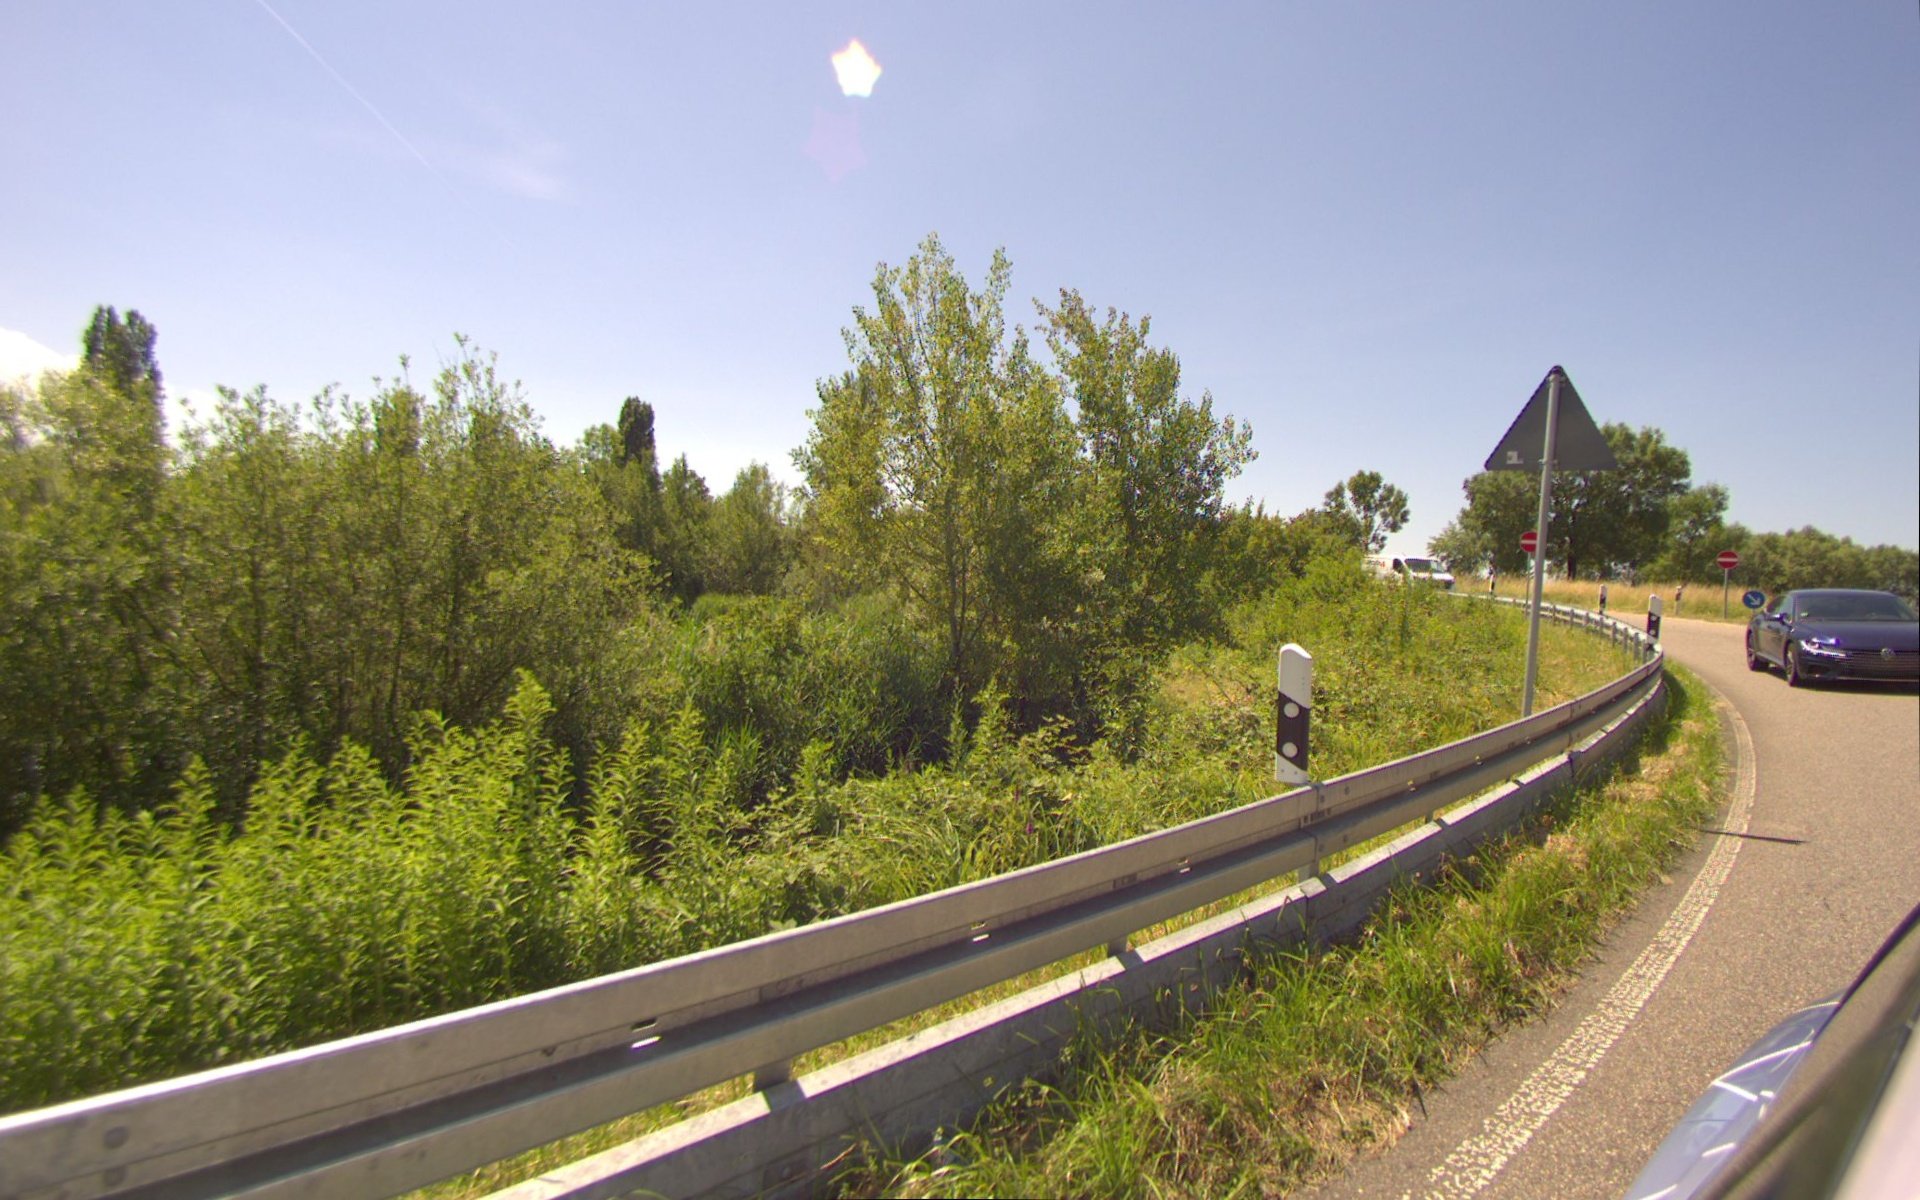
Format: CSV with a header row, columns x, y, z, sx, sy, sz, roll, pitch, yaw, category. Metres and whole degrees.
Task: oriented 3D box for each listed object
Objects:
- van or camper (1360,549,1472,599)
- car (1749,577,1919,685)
x,y,z,sx,sy,sz,roll,pitch,yaw,category
19.714,-1.178,44.082,1.970,2.056,5.456,-1,2,-5,van or camper
13.928,0.417,15.788,1.828,1.448,4.487,1,1,29,car
